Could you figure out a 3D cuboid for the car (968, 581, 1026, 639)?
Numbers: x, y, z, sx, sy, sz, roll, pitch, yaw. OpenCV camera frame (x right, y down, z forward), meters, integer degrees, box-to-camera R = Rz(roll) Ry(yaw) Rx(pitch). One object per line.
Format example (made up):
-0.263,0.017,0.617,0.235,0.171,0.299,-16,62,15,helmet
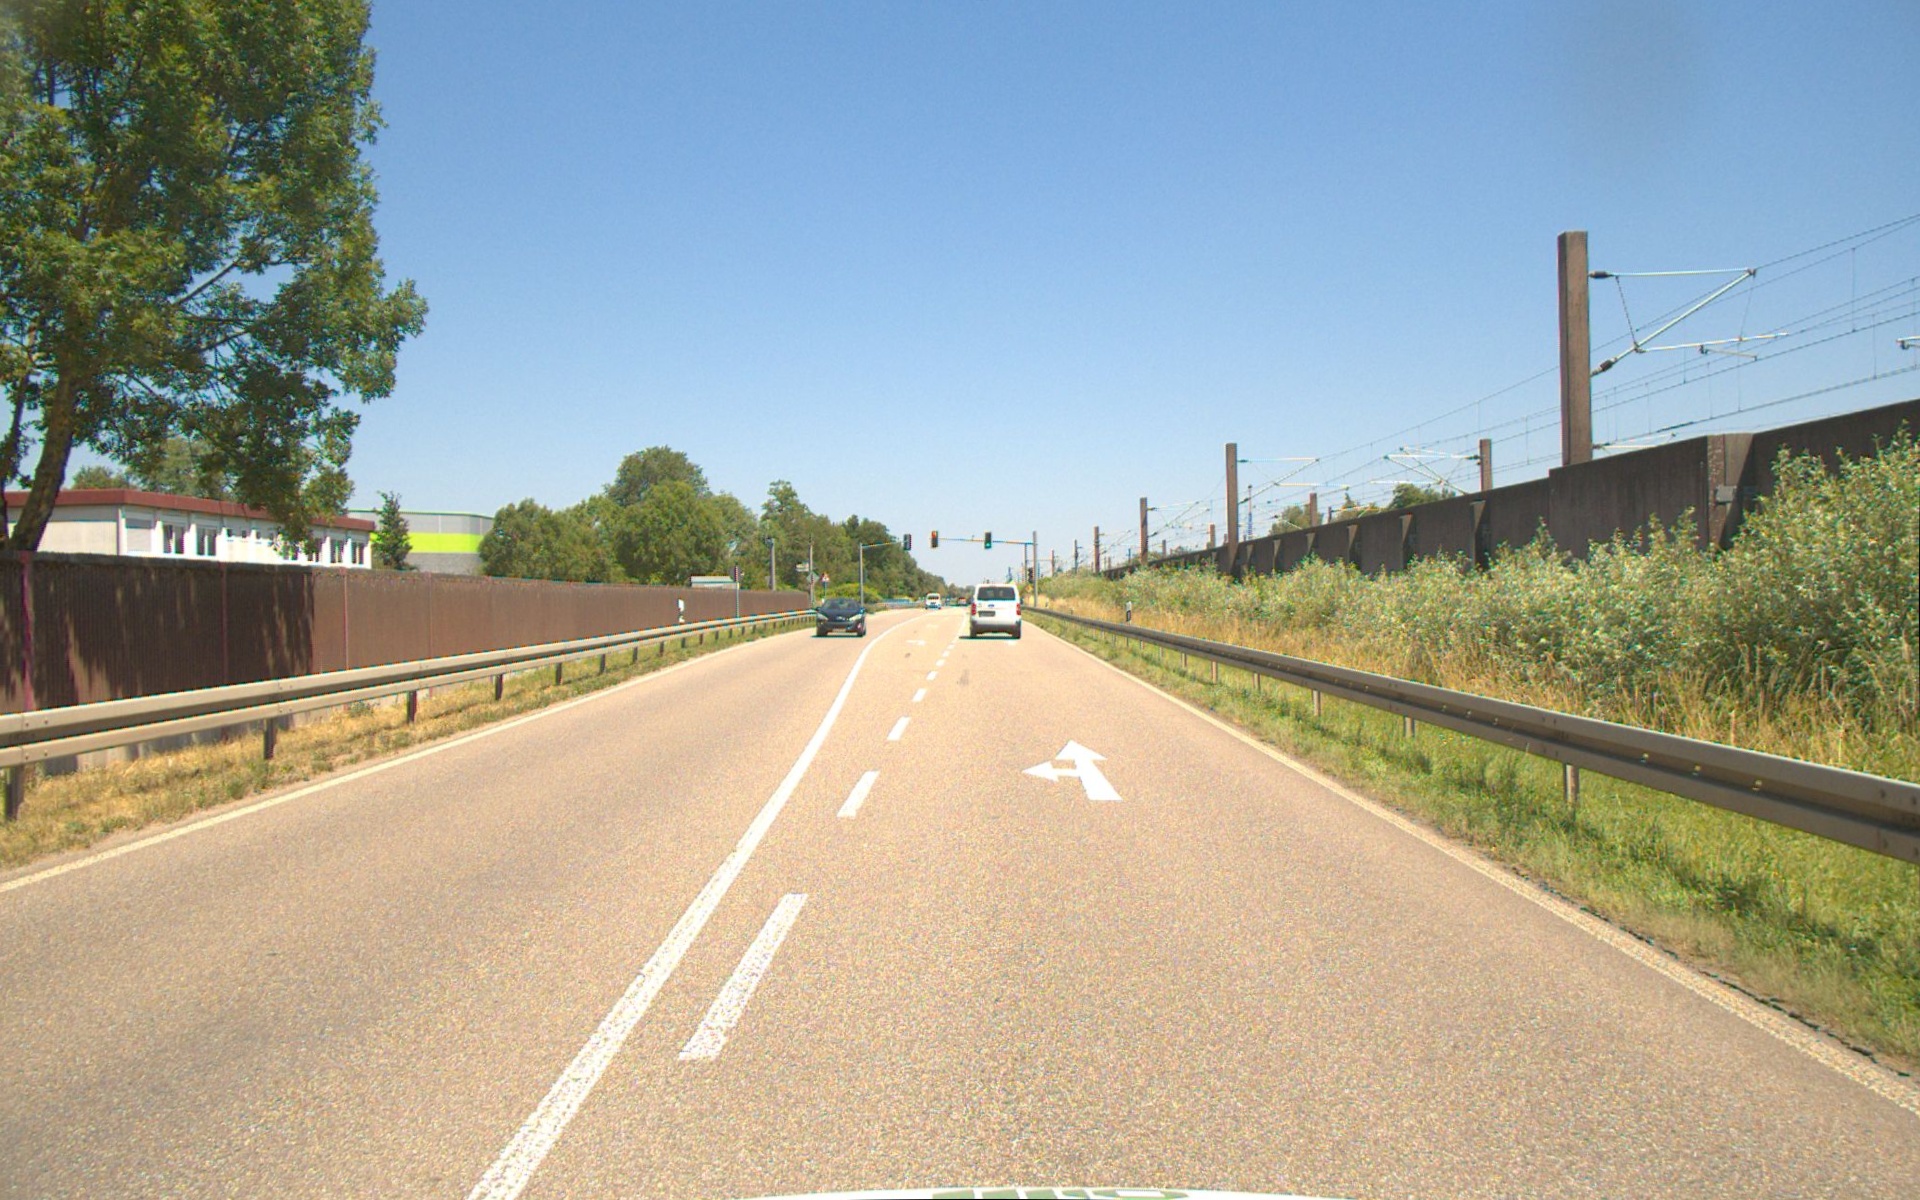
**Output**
1.310,0.351,60.336,1.953,2.018,4.059,1,0,-1,car

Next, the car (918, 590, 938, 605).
-3.768,-0.282,195.284,1.852,1.770,4.768,0,0,-8,car

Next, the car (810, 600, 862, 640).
-4.656,0.737,62.509,1.808,1.414,4.188,1,0,-3,car
